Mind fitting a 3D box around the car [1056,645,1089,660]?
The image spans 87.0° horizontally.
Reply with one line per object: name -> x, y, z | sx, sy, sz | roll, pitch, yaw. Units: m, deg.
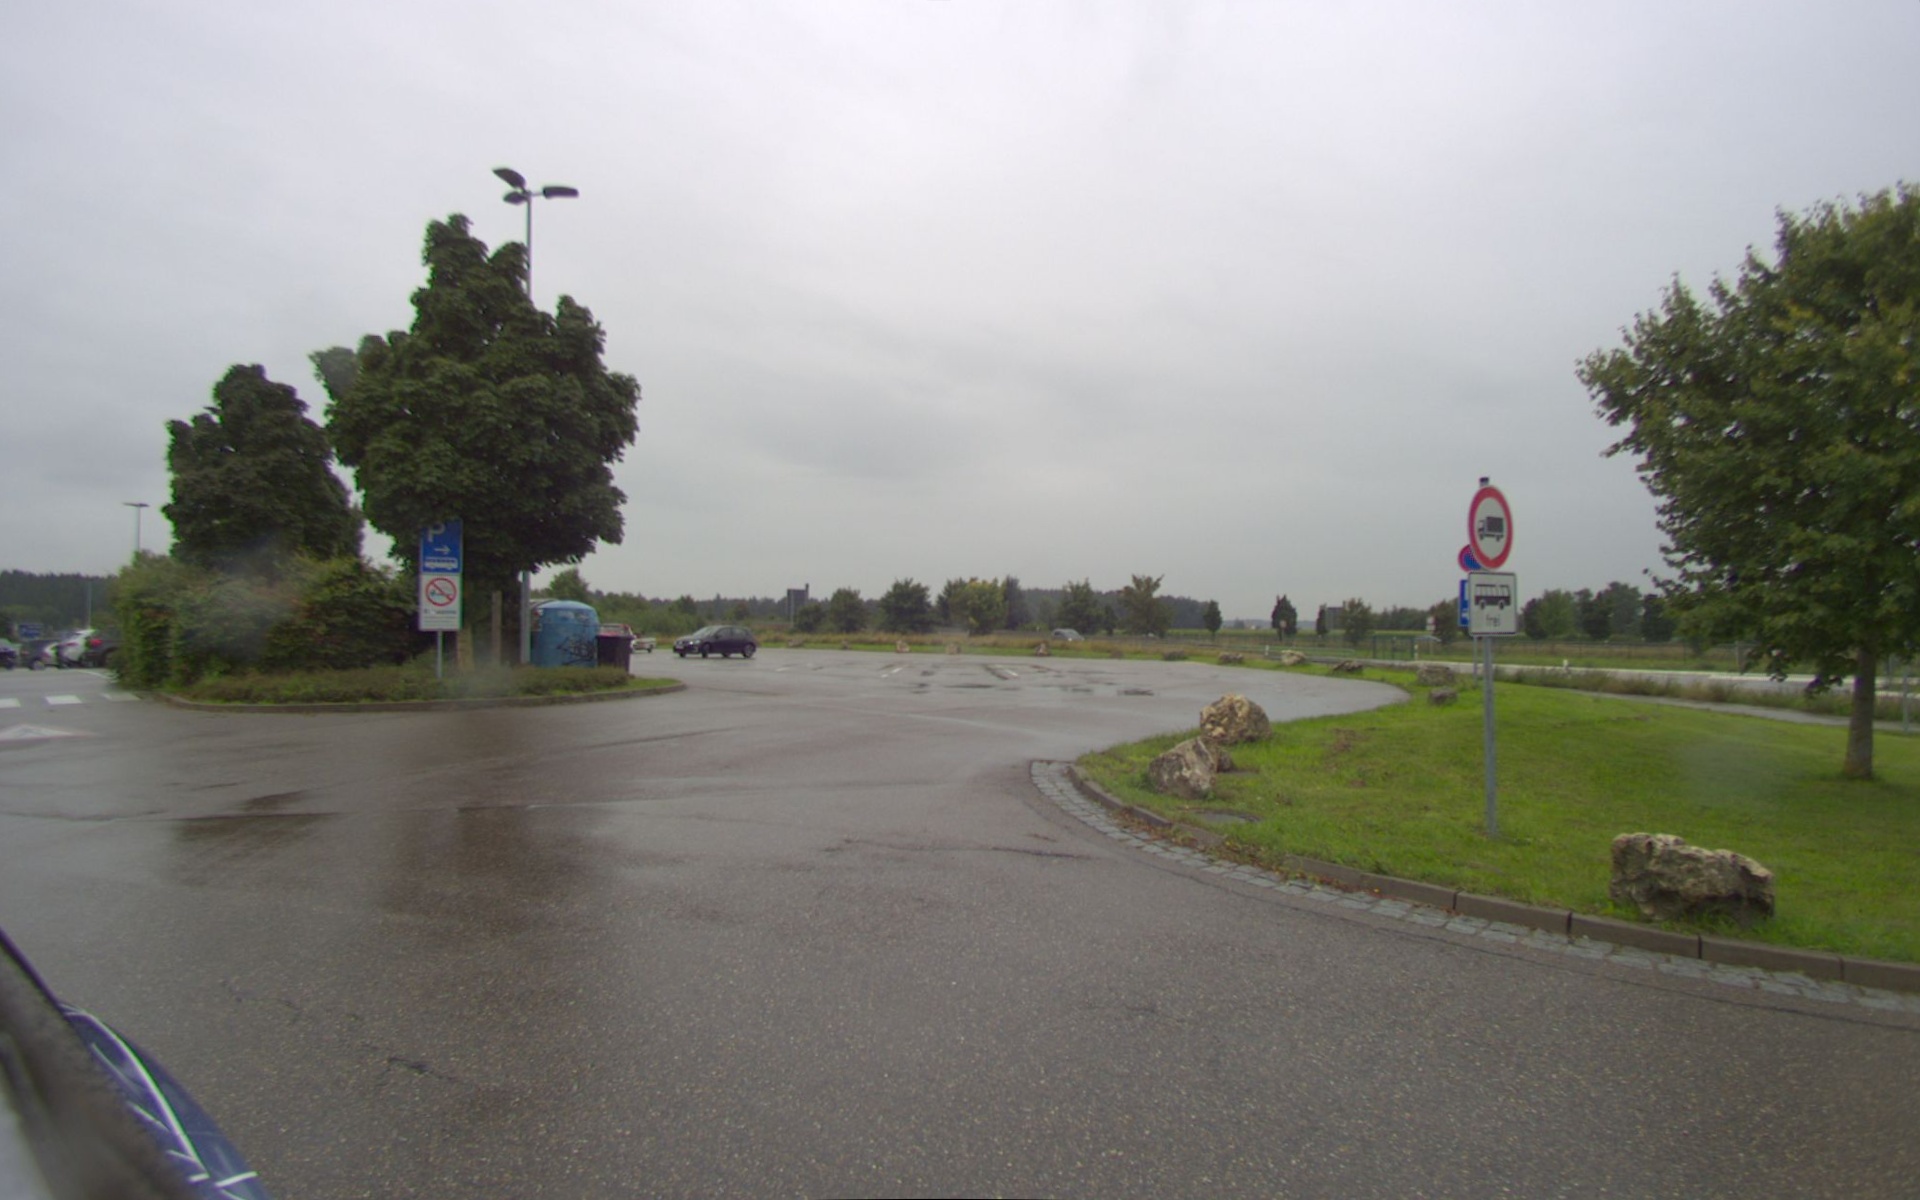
car -> 10.769, 5.034, 97.241 | 1.559, 1.464, 3.768 | 2, -3, -21

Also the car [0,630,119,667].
car -> -38.481, 2.044, 43.043 | 4.033, 1.508, 1.767 | 2, -2, -44

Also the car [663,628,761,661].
car -> -11.354, 2.062, 46.454 | 4.013, 1.444, 1.783 | 2, -3, -39

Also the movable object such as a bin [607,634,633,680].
movable object such as a bin -> -7.159, 1.190, 21.310 | 0.442, 0.946, 0.490 | 2, -3, -23

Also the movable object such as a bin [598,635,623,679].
movable object such as a bin -> -7.512, 1.216, 21.740 | 0.442, 0.924, 0.490 | 2, -3, -23

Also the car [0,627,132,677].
car -> -31.642, 1.783, 35.360 | 4.033, 1.641, 1.788 | 2, -2, -44

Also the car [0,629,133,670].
car -> -35.090, 1.899, 39.627 | 4.033, 1.508, 1.767 | 2, -2, -44

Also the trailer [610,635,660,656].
trailer -> -17.357, 2.440, 54.223 | 1.568, 1.075, 3.027 | 0, -3, 3

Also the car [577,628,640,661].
car -> -17.524, 2.228, 50.628 | 1.529, 1.567, 4.052 | 1, -2, 3
